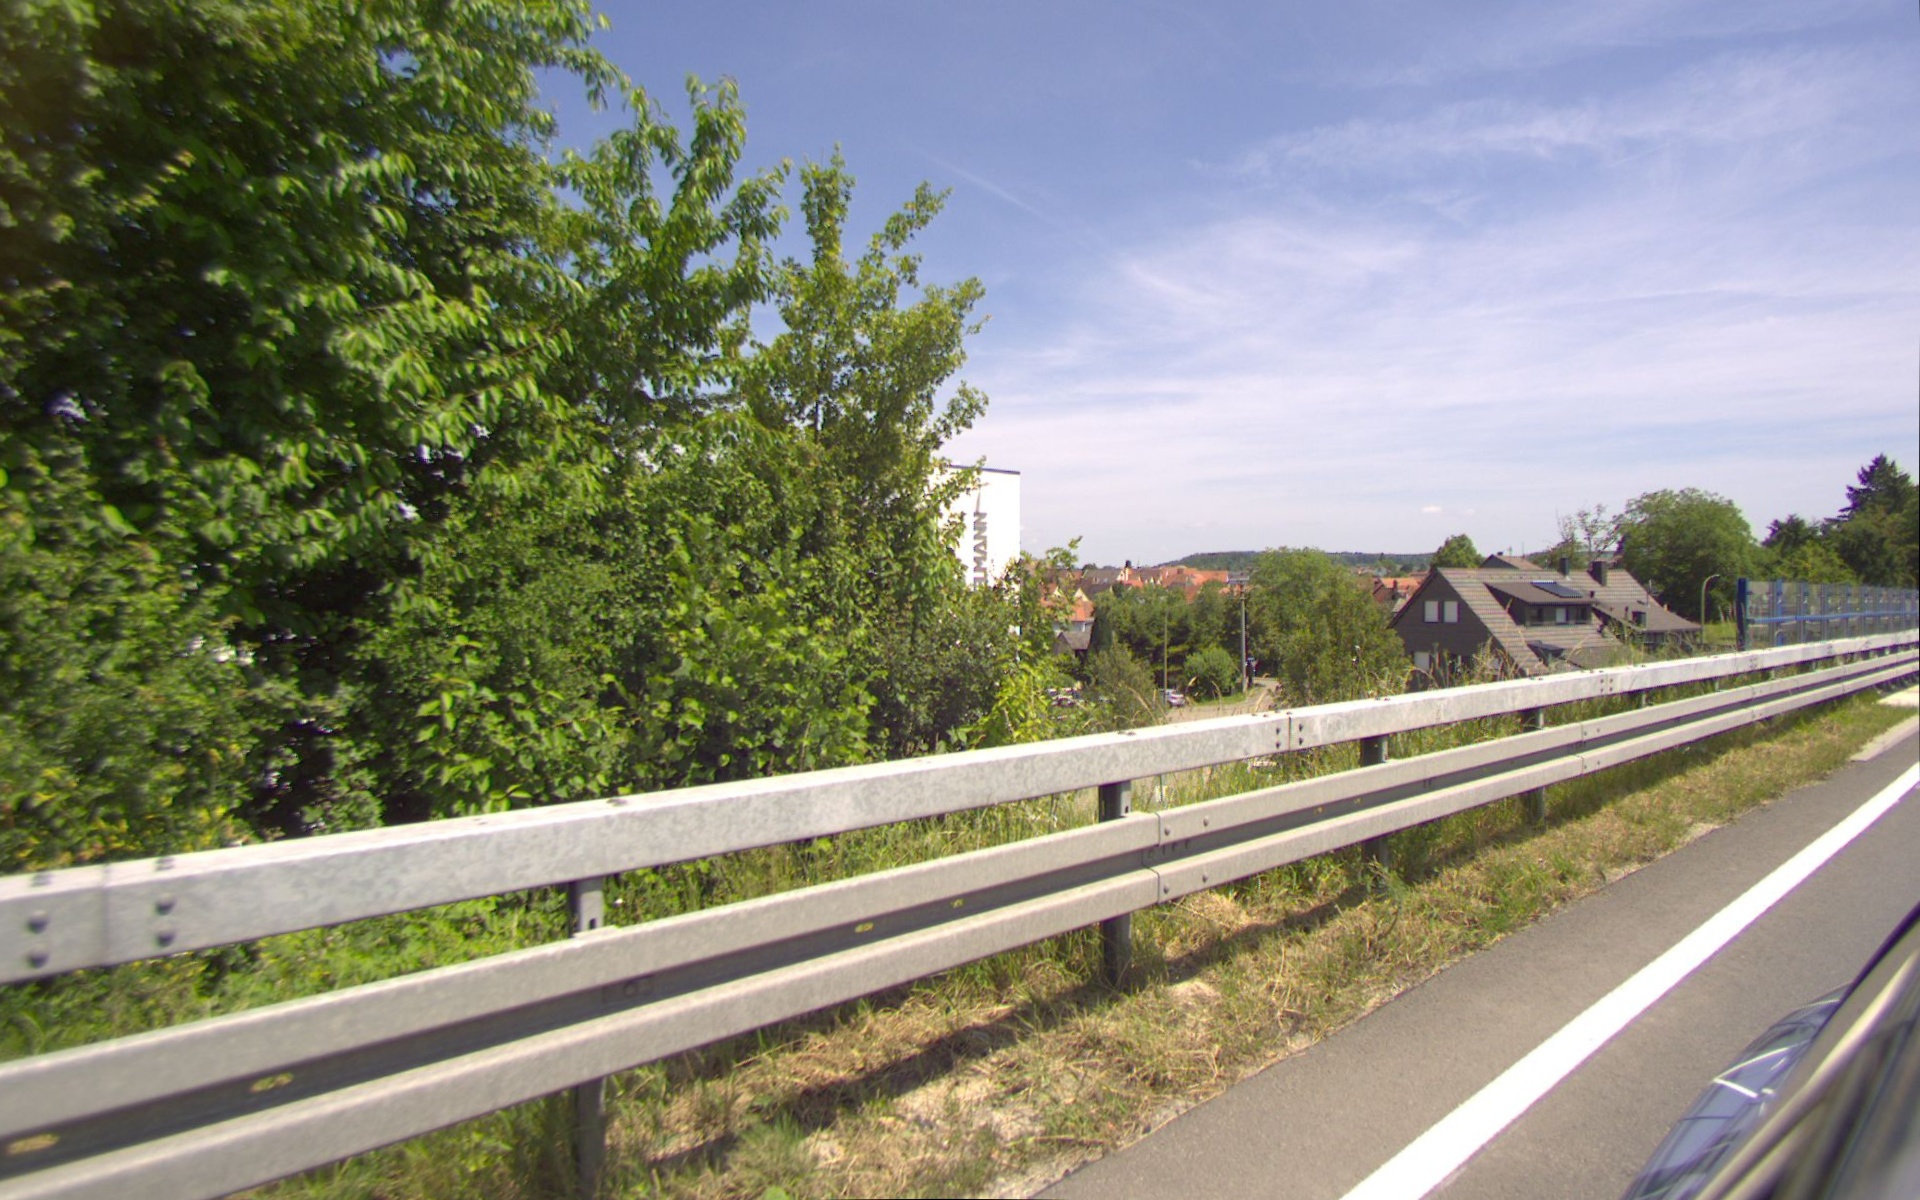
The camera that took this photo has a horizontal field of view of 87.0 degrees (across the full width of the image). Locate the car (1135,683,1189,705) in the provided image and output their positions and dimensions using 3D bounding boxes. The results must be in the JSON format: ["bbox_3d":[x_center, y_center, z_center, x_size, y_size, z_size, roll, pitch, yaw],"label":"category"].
[{"bbox_3d":[16.831,7.844,84.438,1.793,1.589,3.987,-1,-5,-44],"label":"car"}]
